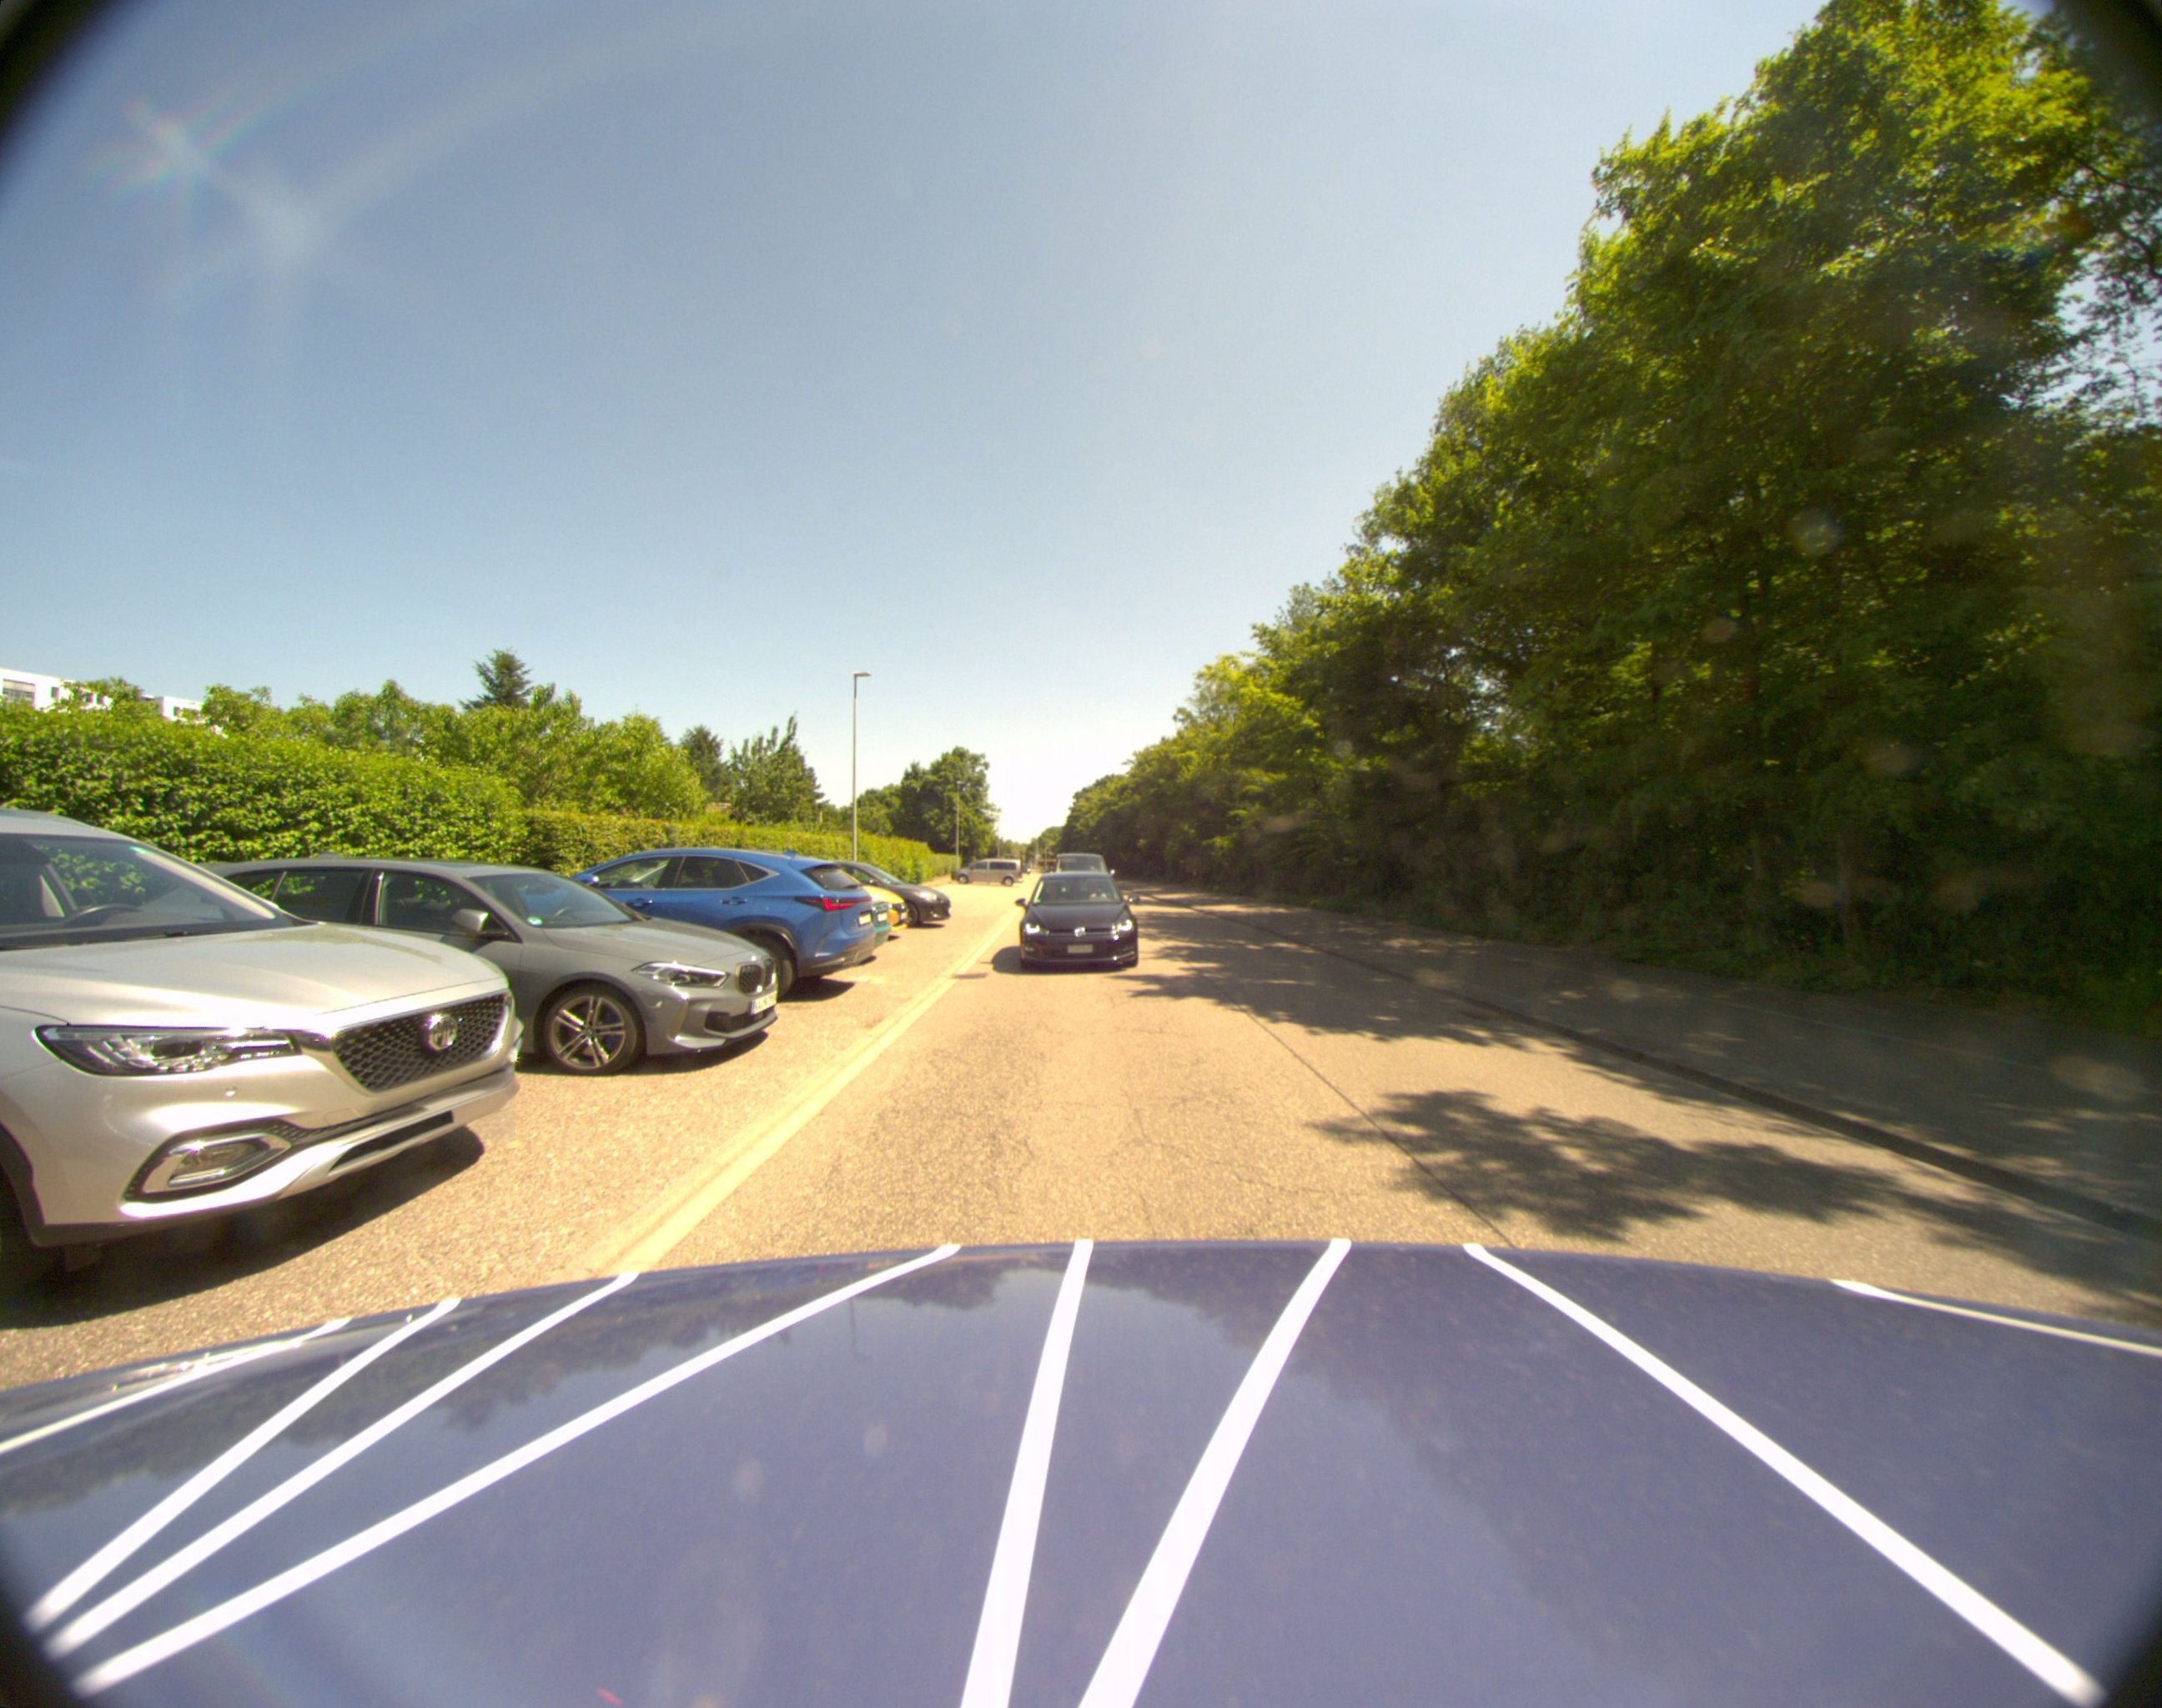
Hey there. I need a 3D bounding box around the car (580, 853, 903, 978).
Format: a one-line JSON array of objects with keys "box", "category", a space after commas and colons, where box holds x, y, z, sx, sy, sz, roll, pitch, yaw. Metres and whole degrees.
[{"box": [-4.946, 0.865, 11.451, 4.036, 1.505, 1.649, 3, 0, 0], "category": "car"}]

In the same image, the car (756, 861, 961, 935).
[{"box": [-5.108, 0.995, 17.850, 4.251, 1.410, 1.649, 3, 0, 0], "category": "car"}]

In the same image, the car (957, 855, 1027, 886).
[{"box": [-5.986, 1.096, 51.489, 4.493, 1.840, 1.695, 3, 0, -4], "category": "car"}]

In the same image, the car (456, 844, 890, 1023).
[{"box": [-4.490, 0.837, 8.793, 4.036, 1.632, 1.674, 3, 0, 0], "category": "car"}]

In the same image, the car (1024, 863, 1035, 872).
[{"box": [-8.334, 2.157, 122.812, 1.744, 1.396, 4.386, 1, -1, -4], "category": "car"}]

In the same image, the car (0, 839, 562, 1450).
[{"box": [-4.800, 0.777, 3.000, 4.170, 1.632, 1.776, 3, 0, -2], "category": "car"}]

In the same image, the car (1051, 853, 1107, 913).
[{"box": [-0.084, 0.943, 26.253, 1.743, 1.904, 4.388, 0, -1, 0], "category": "car"}]

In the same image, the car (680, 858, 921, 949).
[{"box": [-5.391, 0.924, 14.941, 4.036, 1.438, 1.649, 3, 0, 0], "category": "car"}]

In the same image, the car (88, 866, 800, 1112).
[{"box": [-4.556, 0.918, 5.912, 4.036, 1.401, 1.680, 3, 0, -1], "category": "car"}]

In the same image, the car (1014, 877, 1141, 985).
[{"box": [-0.066, 1.134, 12.738, 1.743, 1.396, 4.388, 0, -1, 0], "category": "car"}]
